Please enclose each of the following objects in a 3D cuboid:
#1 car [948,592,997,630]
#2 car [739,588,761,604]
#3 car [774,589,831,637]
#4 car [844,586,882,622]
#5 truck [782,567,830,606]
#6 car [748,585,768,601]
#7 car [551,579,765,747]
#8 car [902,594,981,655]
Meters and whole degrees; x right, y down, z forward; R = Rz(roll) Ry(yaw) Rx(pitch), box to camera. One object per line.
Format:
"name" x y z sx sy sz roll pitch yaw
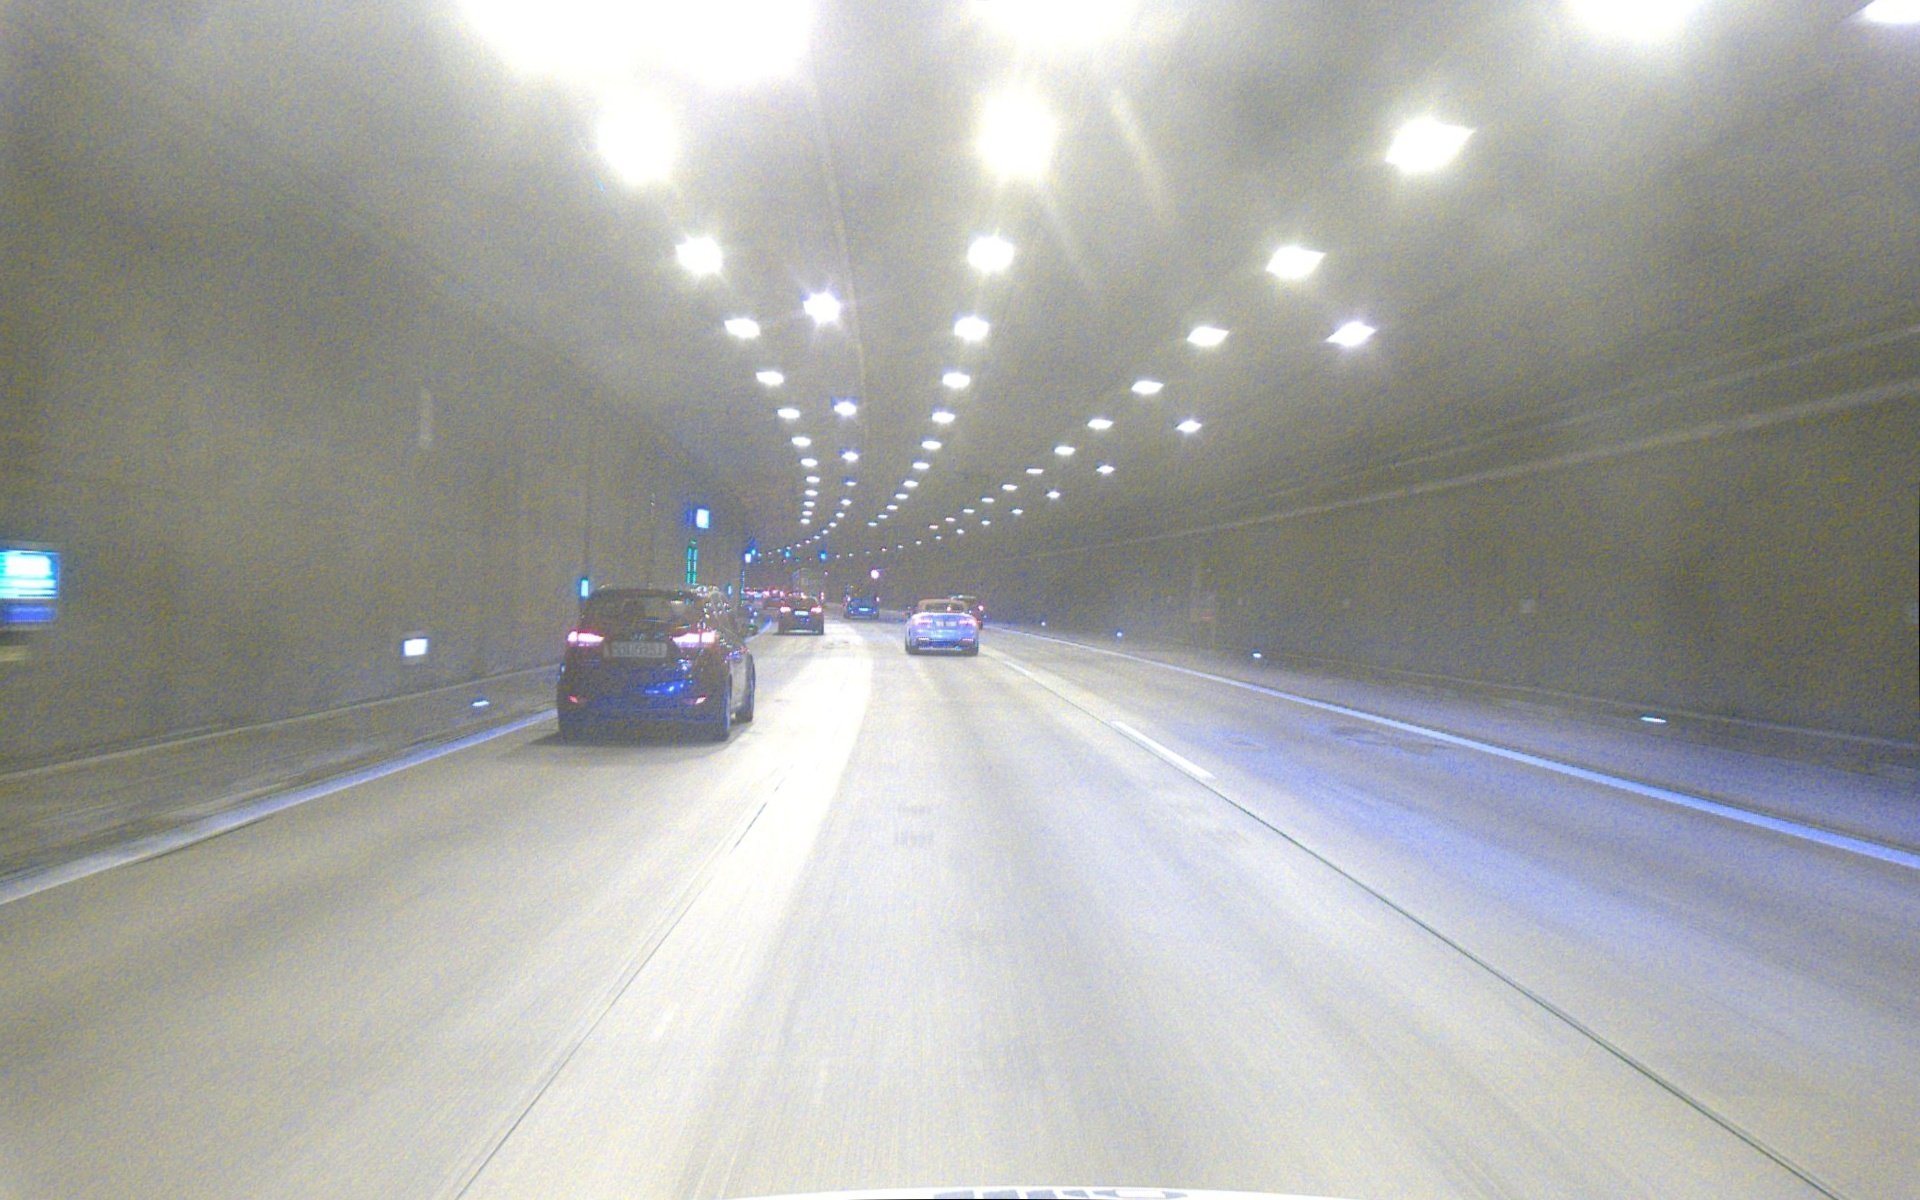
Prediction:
"car" 0.524 0.459 73.728 1.804 1.630 3.996 1 0 -5
"car" -21.885 -0.398 172.456 1.959 1.557 3.987 1 0 -12
"car" -5.950 0.478 62.080 1.768 1.713 3.990 1 0 -11
"car" -5.628 0.220 95.369 1.956 2.006 3.994 0 0 -7
"truck" -13.336 -1.197 142.567 3.028 3.167 10.003 2 1 -11
"car" -23.432 -0.771 191.882 1.958 1.785 3.988 1 0 -12
"car" -3.189 0.620 18.161 1.749 1.626 3.800 1 0 -2
"car" -0.535 0.605 43.431 1.953 1.509 3.998 1 0 -2
